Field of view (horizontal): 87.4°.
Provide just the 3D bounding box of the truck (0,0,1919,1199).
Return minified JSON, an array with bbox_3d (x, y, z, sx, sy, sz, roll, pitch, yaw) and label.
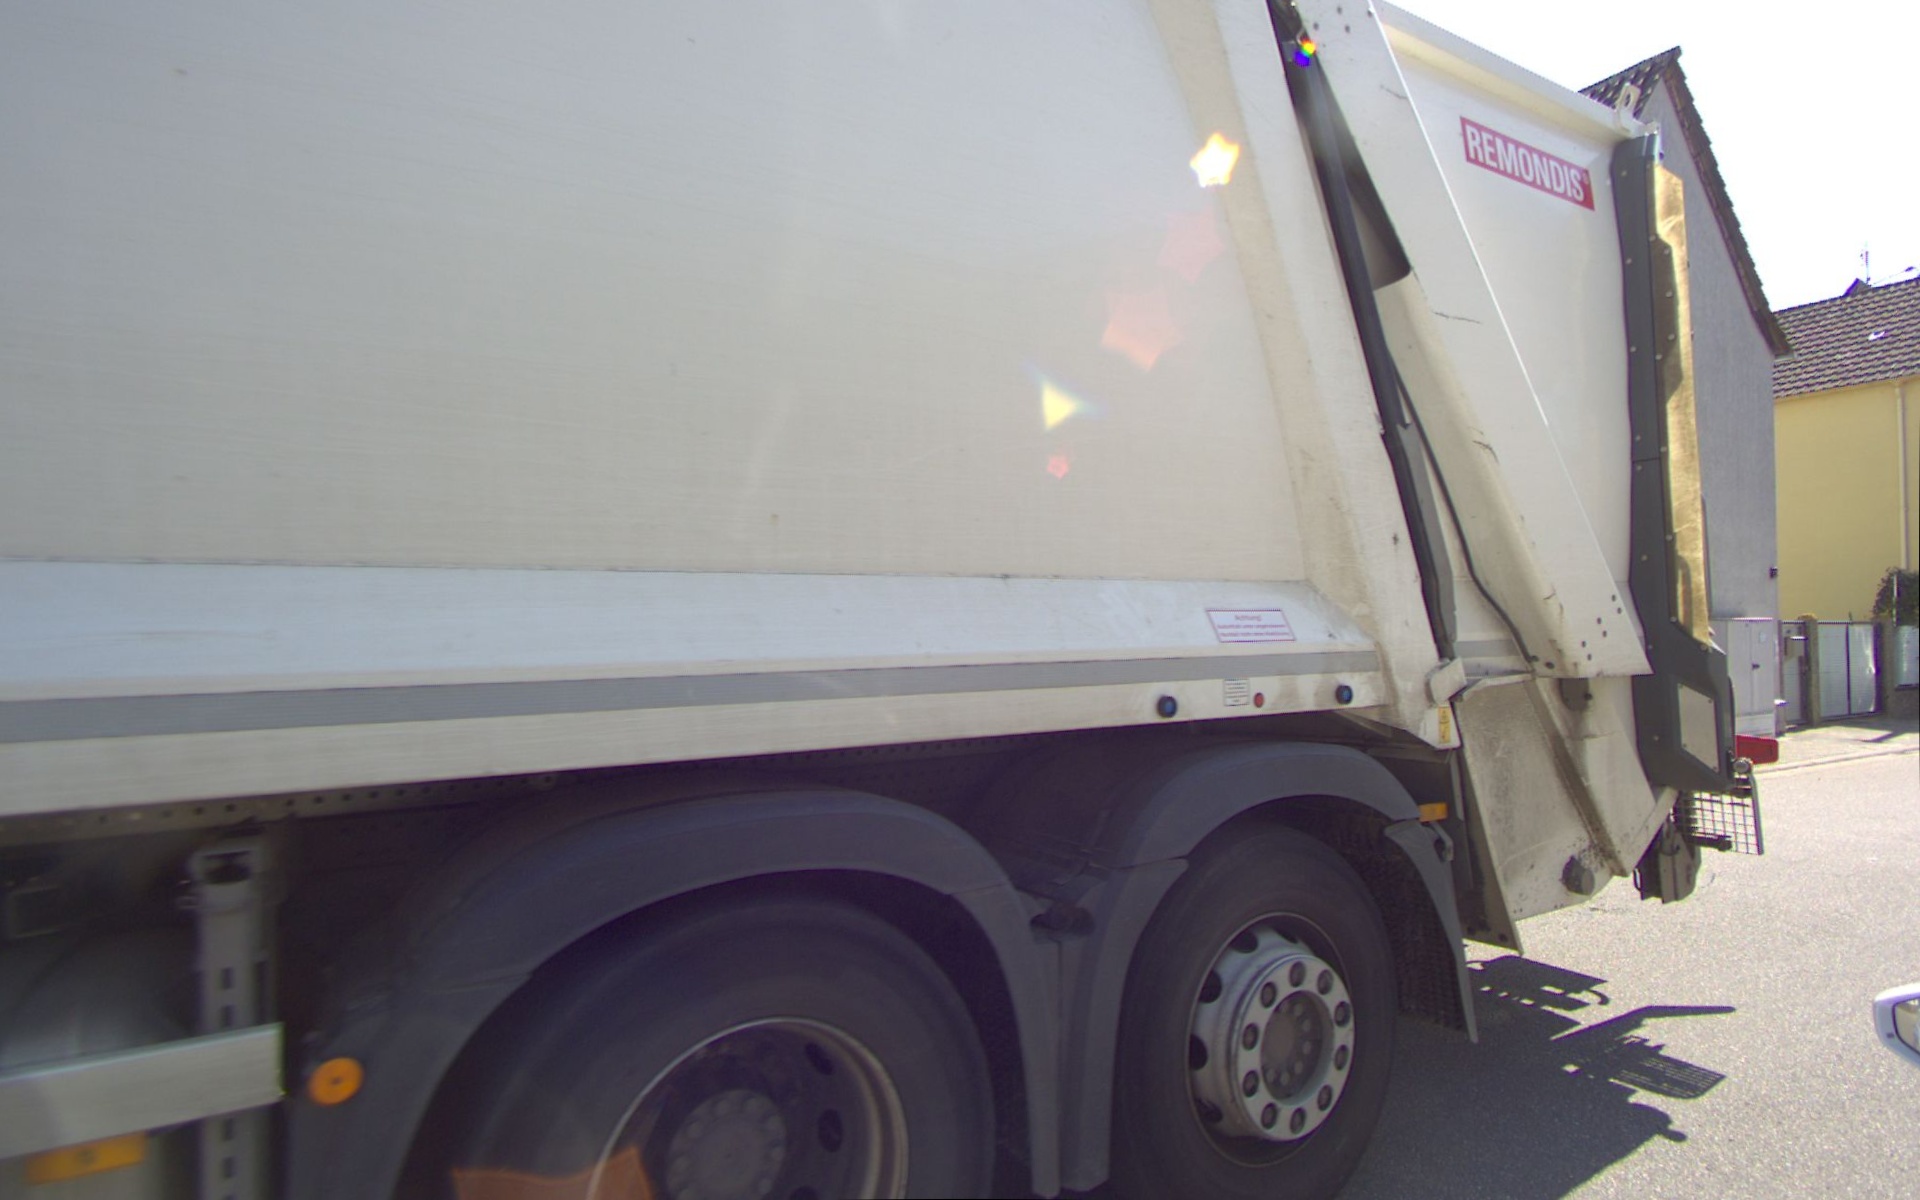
[{"bbox_3d":[-1.443,-0.357,2.501,10.739,3.798,2.684,1,-4,-30],"label":"truck"}]
